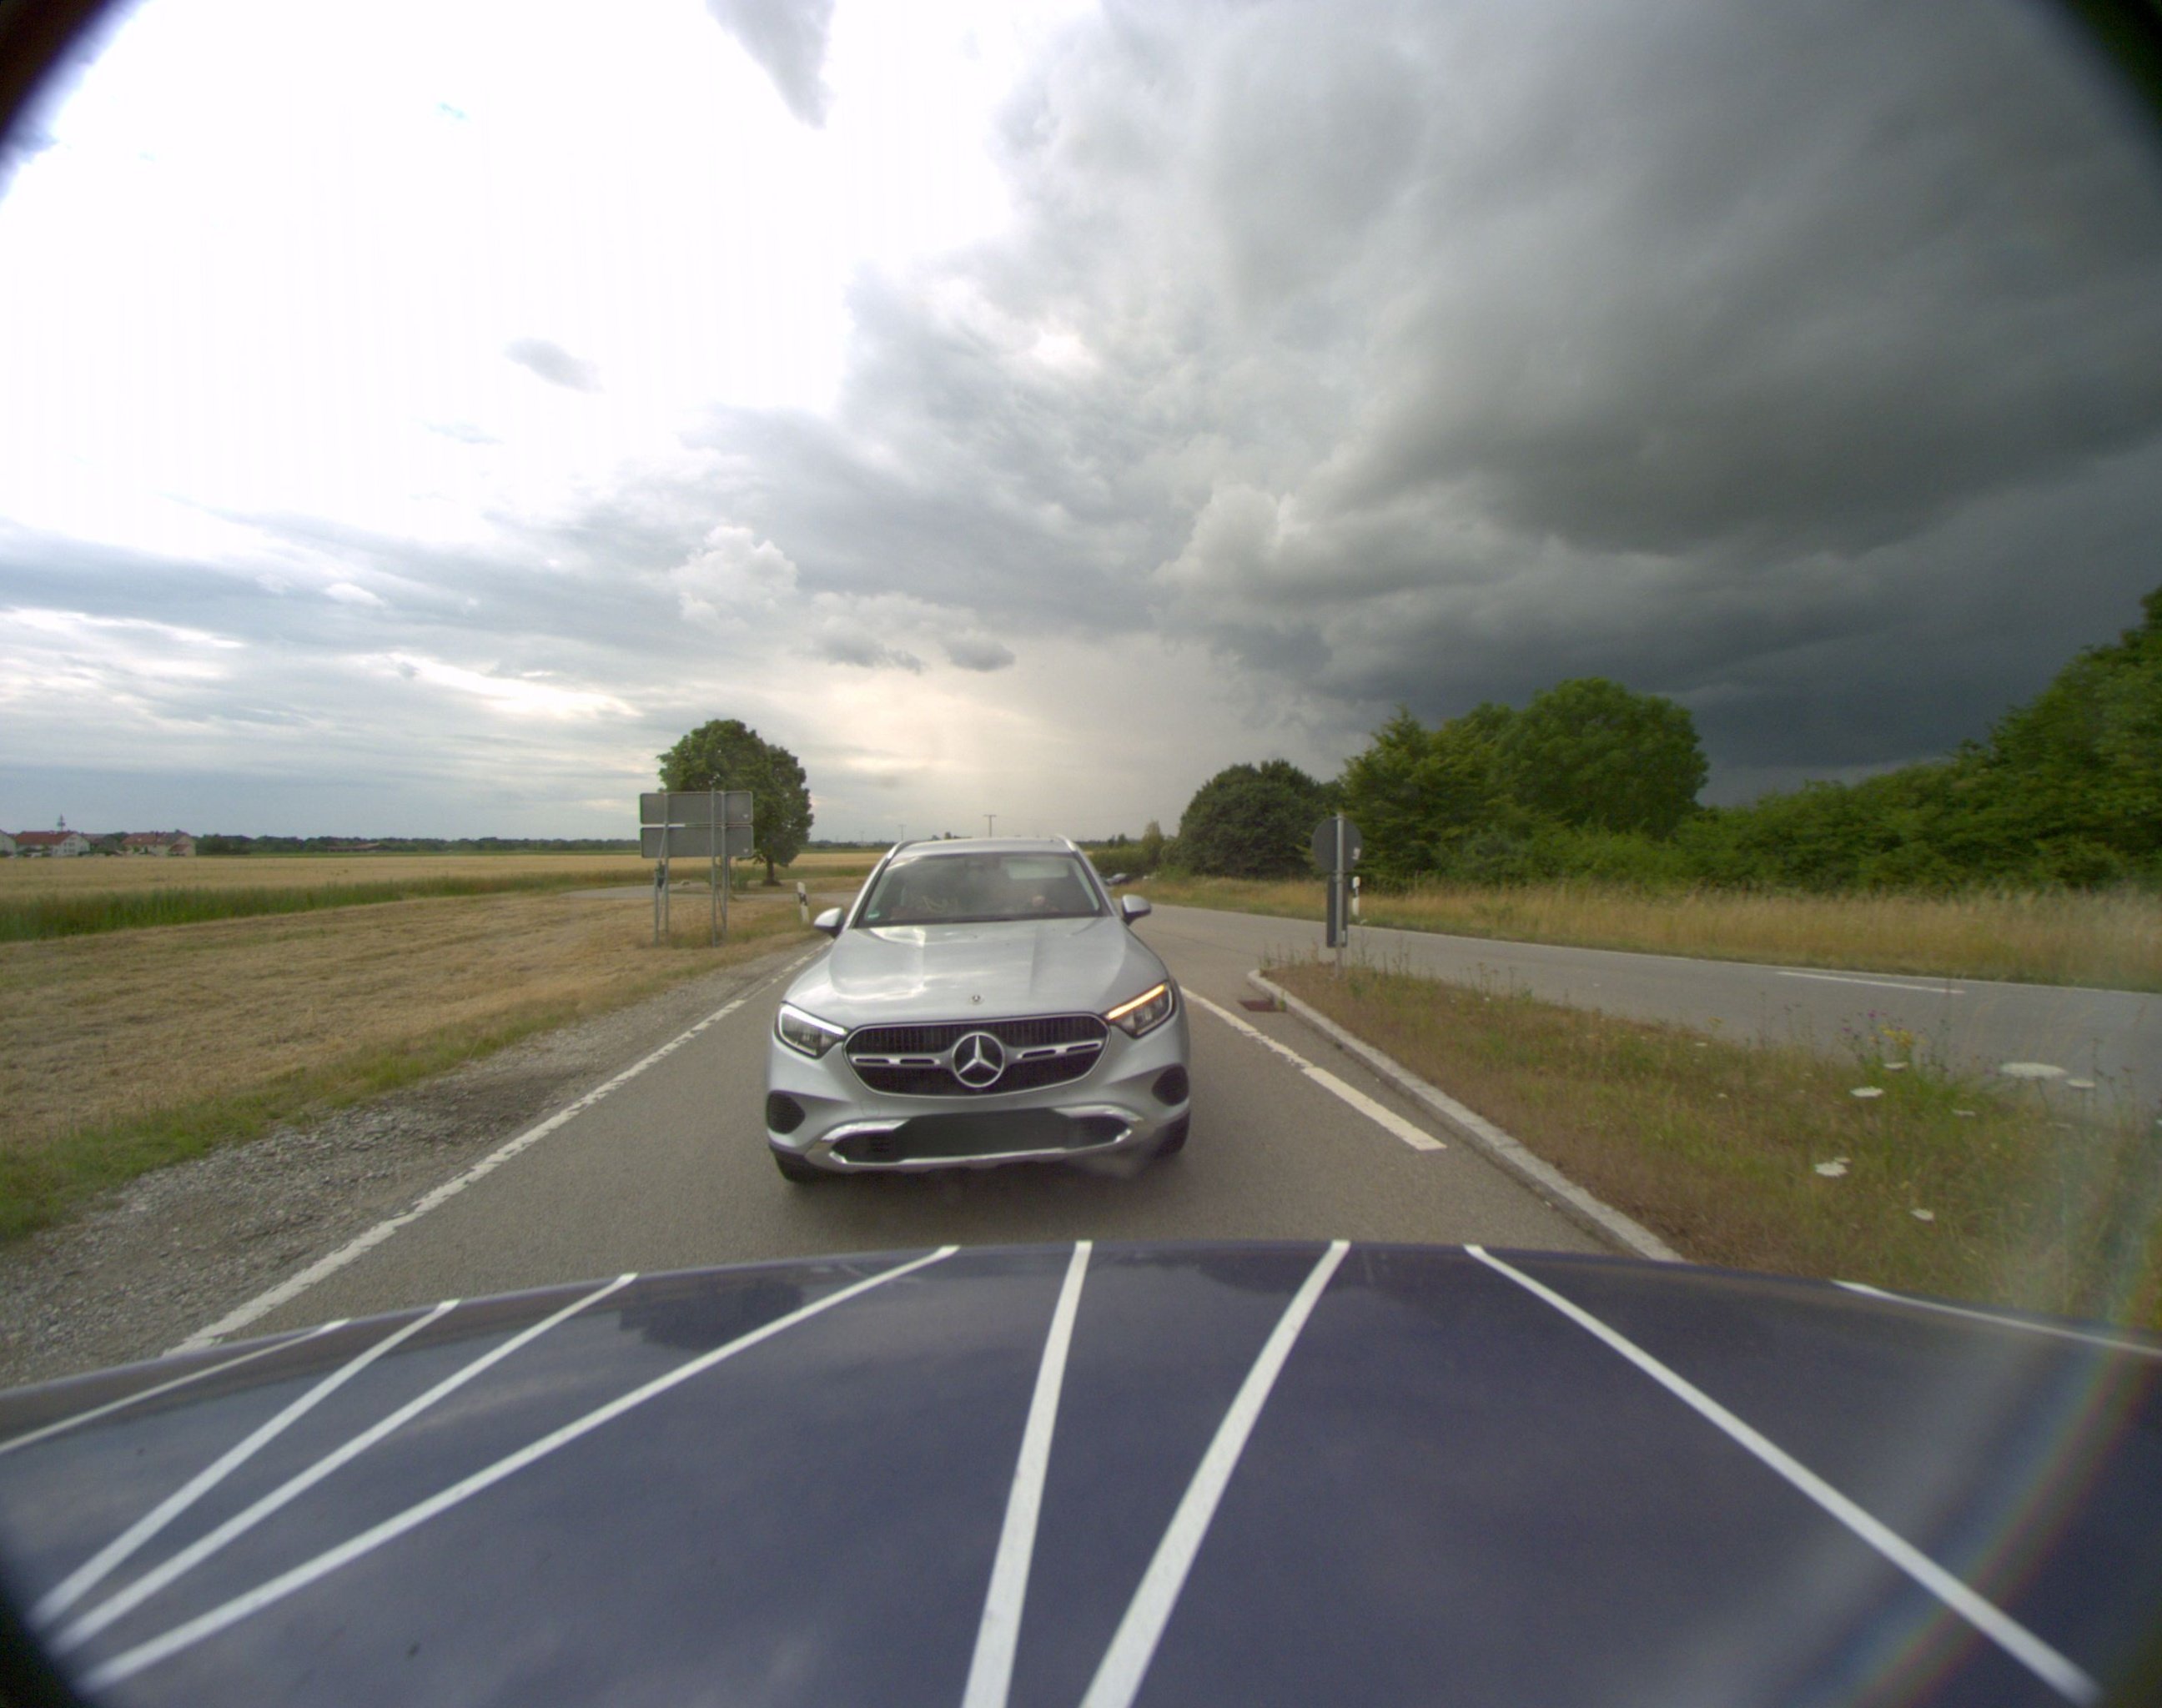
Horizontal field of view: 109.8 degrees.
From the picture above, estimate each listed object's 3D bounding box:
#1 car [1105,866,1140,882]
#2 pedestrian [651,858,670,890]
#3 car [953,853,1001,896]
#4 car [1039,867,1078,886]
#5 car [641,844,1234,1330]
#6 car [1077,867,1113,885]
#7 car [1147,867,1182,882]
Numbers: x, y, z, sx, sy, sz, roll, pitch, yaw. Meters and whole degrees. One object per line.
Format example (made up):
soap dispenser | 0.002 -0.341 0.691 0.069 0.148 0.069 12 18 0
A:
car | 4.386 2.032 79.183 1.817 1.524 4.008 0 1 35
pedestrian | -21.676 1.012 39.150 0.774 1.602 0.943 -1 1 -26
car | -4.282 0.767 31.237 1.722 1.486 4.634 -3 1 -8
car | -1.994 2.005 67.849 1.818 1.524 4.007 0 1 25
car | -0.663 0.773 4.875 1.997 1.577 4.391 -3 1 -5
car | 1.393 2.132 74.596 1.817 1.524 4.007 0 1 29
car | 9.246 2.207 84.107 1.817 1.524 4.008 1 1 41
